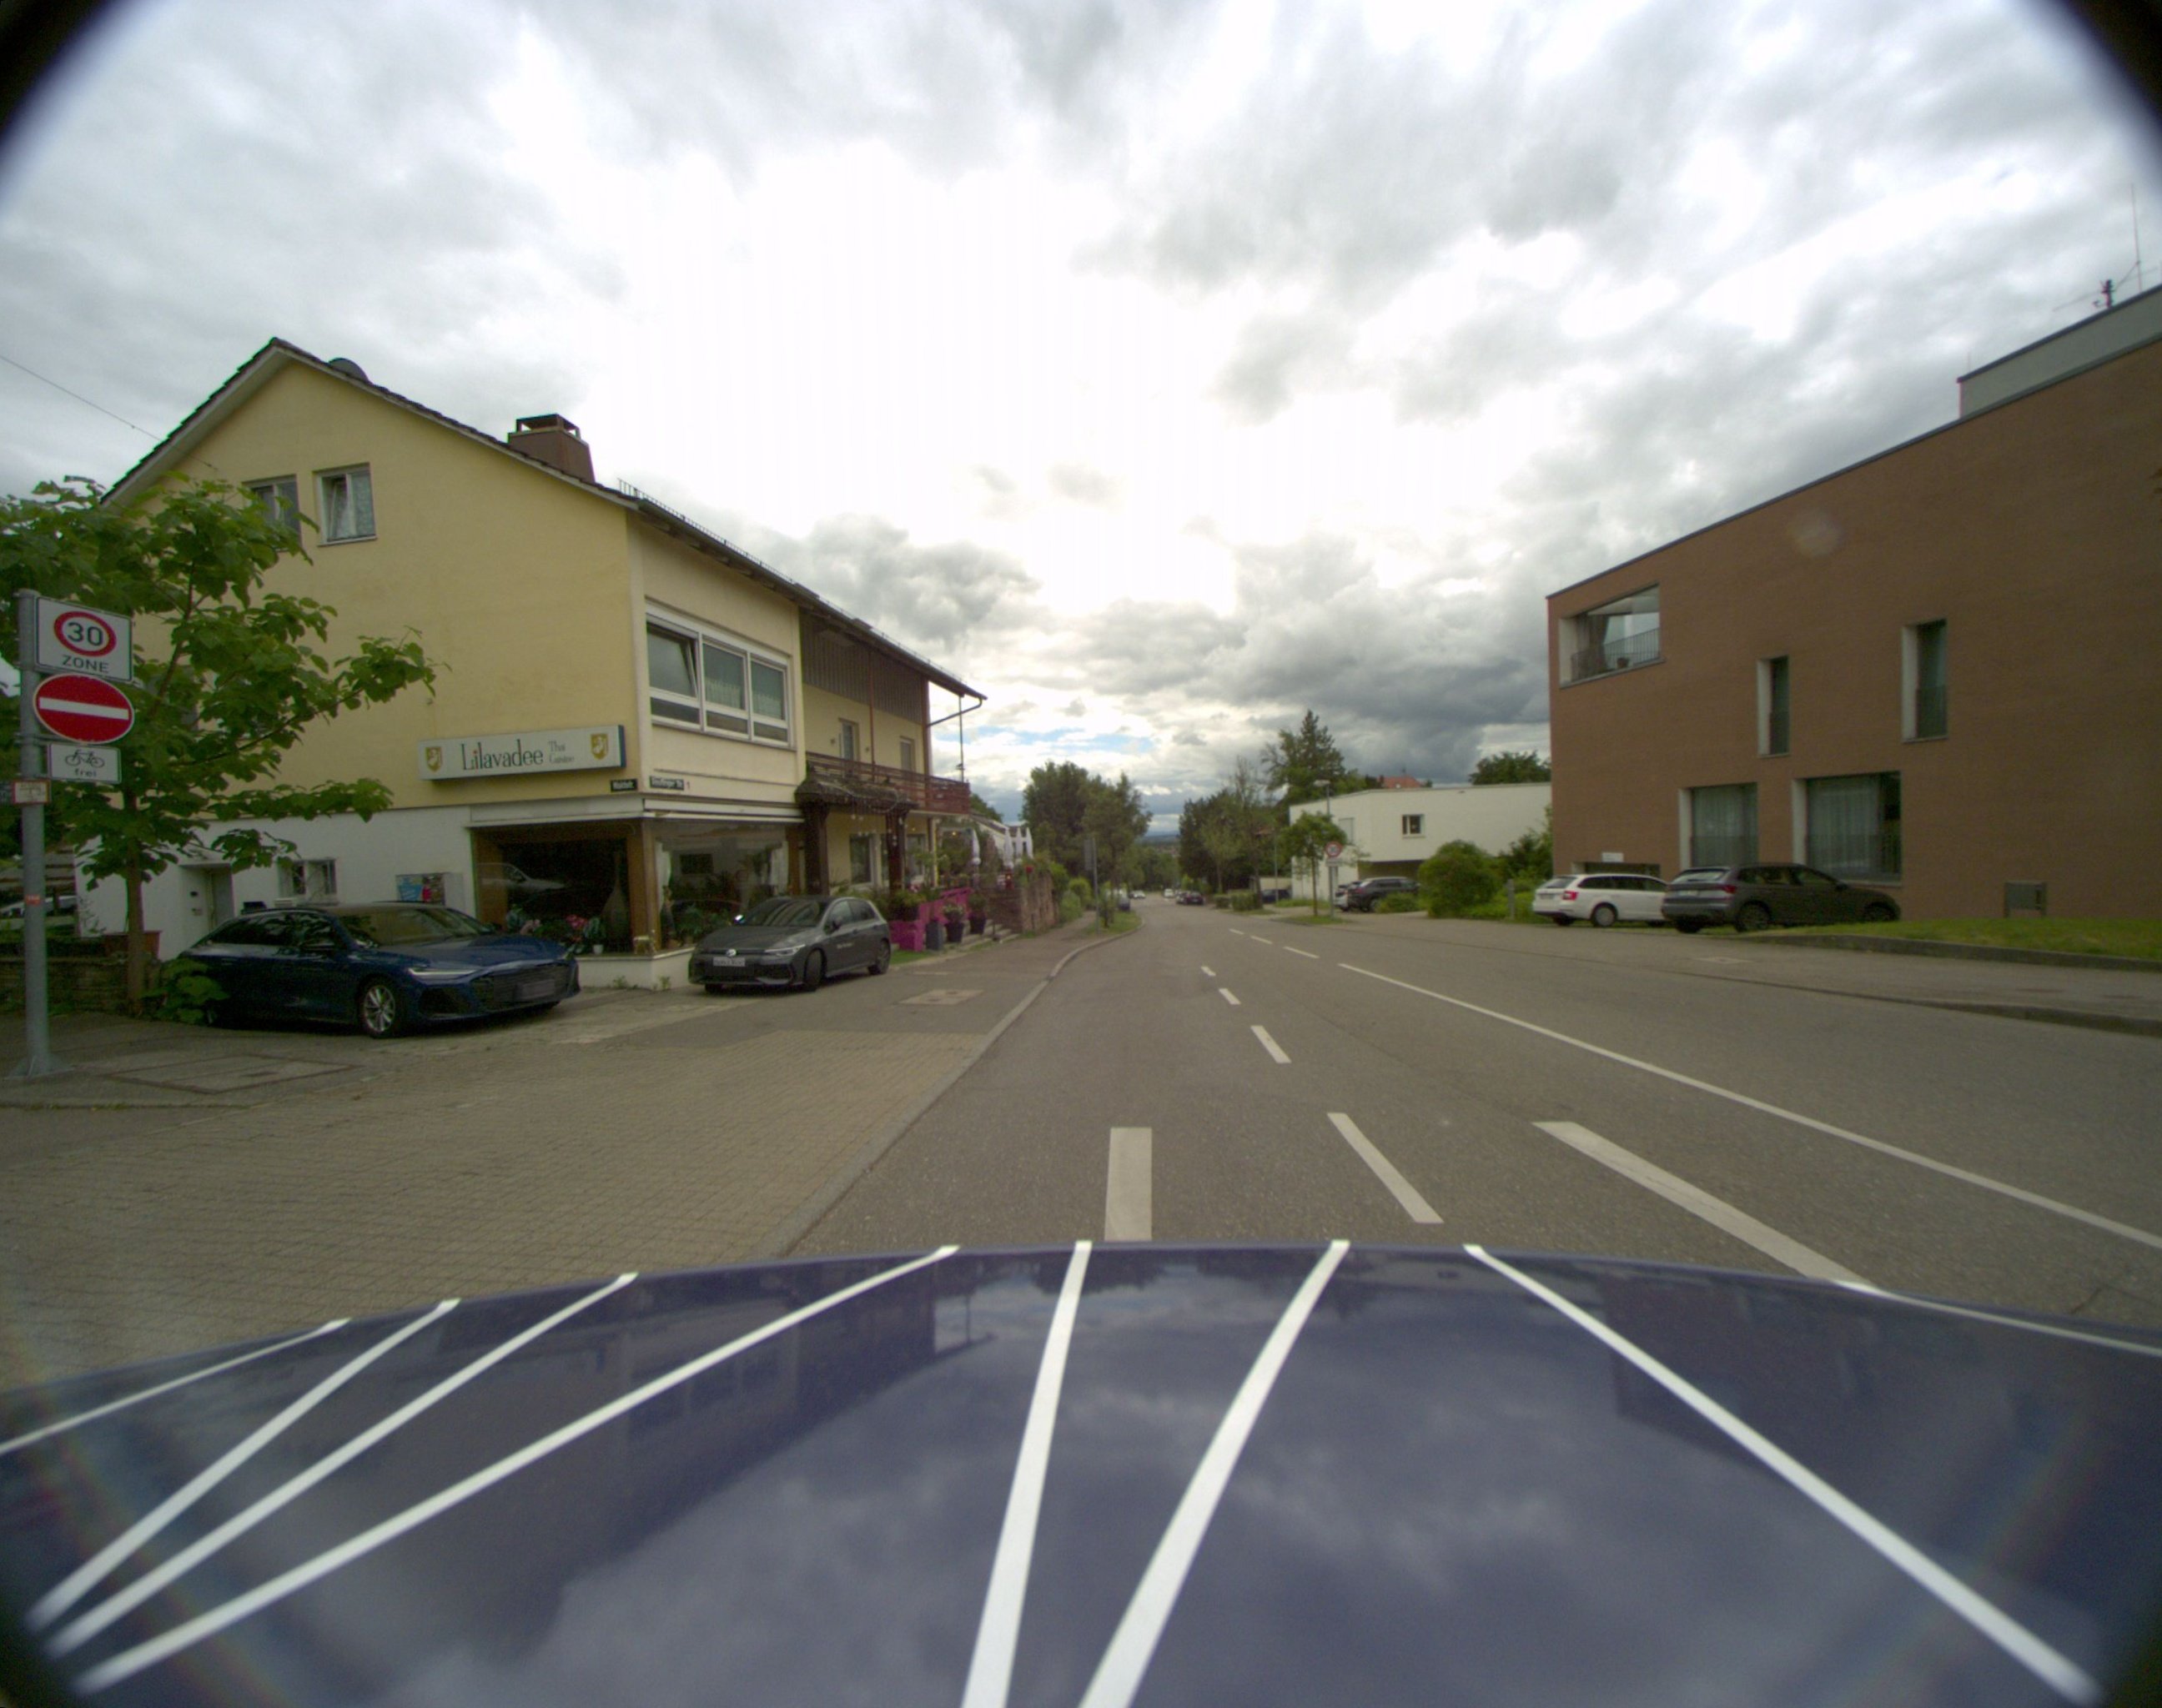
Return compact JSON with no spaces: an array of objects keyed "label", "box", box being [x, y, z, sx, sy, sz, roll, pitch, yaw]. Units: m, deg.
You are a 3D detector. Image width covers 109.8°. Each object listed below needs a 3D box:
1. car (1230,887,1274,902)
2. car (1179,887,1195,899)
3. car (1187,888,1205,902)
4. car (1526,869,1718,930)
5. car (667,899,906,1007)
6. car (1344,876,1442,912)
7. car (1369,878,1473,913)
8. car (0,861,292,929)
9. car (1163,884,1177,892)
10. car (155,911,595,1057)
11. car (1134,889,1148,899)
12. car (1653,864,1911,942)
[{"label":"car","box":[16.512,3.923,73.672,3.995,1.278,1.665,-2,-3,7]},{"label":"car","box":[12.453,4.601,89.516,1.661,1.412,4.372,-2,-3,5]},{"label":"car","box":[12.142,4.342,80.518,1.661,1.412,4.004,-2,-3,5]},{"label":"car","box":[14.611,1.231,20.656,3.998,1.476,1.727,-1,-3,-3]},{"label":"car","box":[-4.542,1.492,12.558,1.796,1.452,4.332,-1,-4,8]},{"label":"car","box":[15.042,1.938,36.819,3.996,1.585,1.795,-2,-3,3]},{"label":"car","box":[15.589,1.918,34.978,3.996,1.476,1.728,-2,-3,3]},{"label":"car","box":[-22.684,1.017,18.561,1.795,1.452,4.336,-2,-4,22]},{"label":"car","box":[16.134,6.138,137.914,1.884,1.412,4.368,-1,-1,-2]},{"label":"car","box":[-8.526,1.429,9.218,4.739,1.378,1.802,-2,-1,18]},{"label":"car","box":[10.155,6.783,128.821,1.884,1.412,4.368,-1,-1,-2]},{"label":"car","box":[14.912,1.028,16.309,3.998,1.476,1.727,-1,-3,-3]}]
